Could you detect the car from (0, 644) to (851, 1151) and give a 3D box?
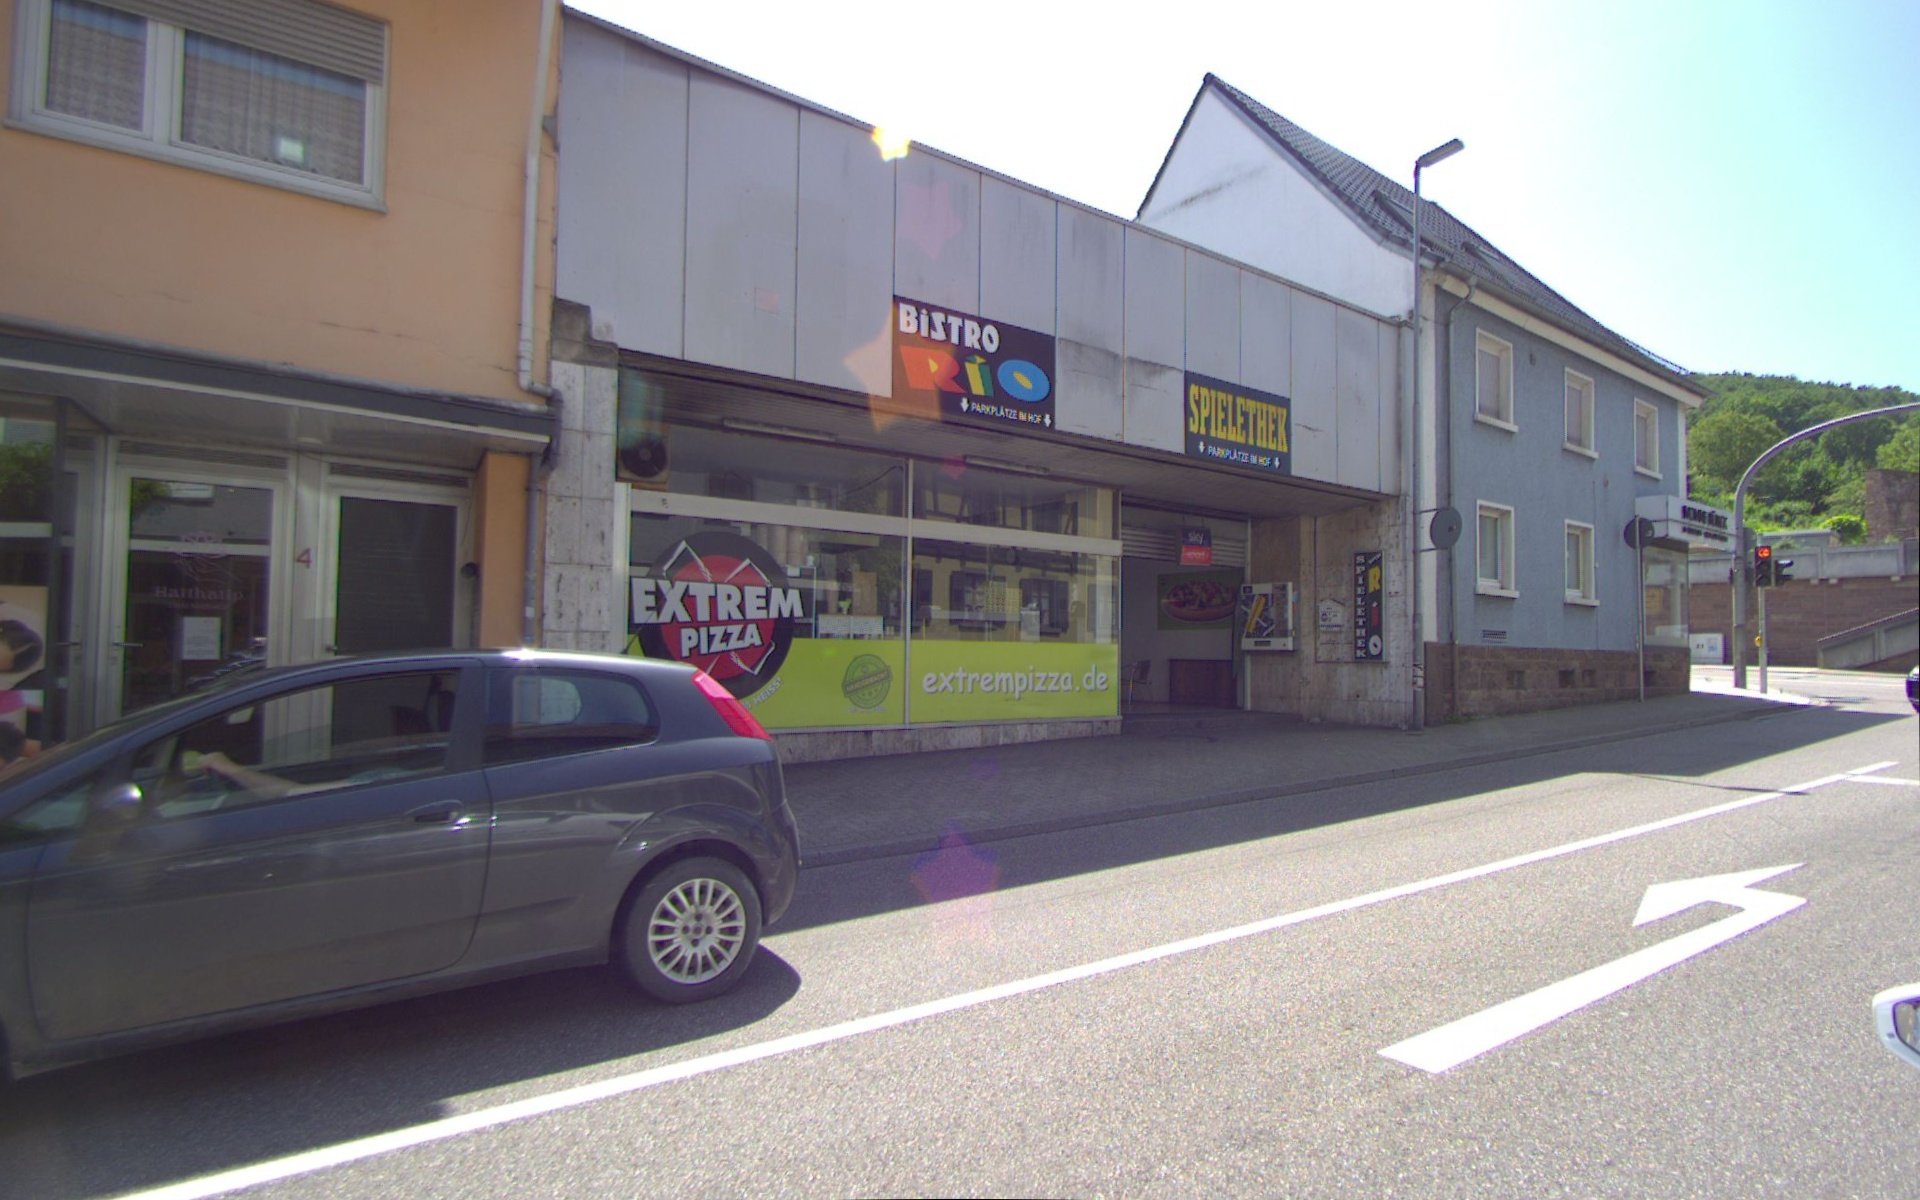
[{"bbox_3d":[-2.532,0.950,4.189,3.780,1.441,1.708,1,-3,-34],"label":"car"}]

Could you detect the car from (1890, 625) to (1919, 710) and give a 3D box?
[{"bbox_3d":[19.508,1.242,18.435,4.727,1.507,1.793,1,-1,-23],"label":"car"}]
